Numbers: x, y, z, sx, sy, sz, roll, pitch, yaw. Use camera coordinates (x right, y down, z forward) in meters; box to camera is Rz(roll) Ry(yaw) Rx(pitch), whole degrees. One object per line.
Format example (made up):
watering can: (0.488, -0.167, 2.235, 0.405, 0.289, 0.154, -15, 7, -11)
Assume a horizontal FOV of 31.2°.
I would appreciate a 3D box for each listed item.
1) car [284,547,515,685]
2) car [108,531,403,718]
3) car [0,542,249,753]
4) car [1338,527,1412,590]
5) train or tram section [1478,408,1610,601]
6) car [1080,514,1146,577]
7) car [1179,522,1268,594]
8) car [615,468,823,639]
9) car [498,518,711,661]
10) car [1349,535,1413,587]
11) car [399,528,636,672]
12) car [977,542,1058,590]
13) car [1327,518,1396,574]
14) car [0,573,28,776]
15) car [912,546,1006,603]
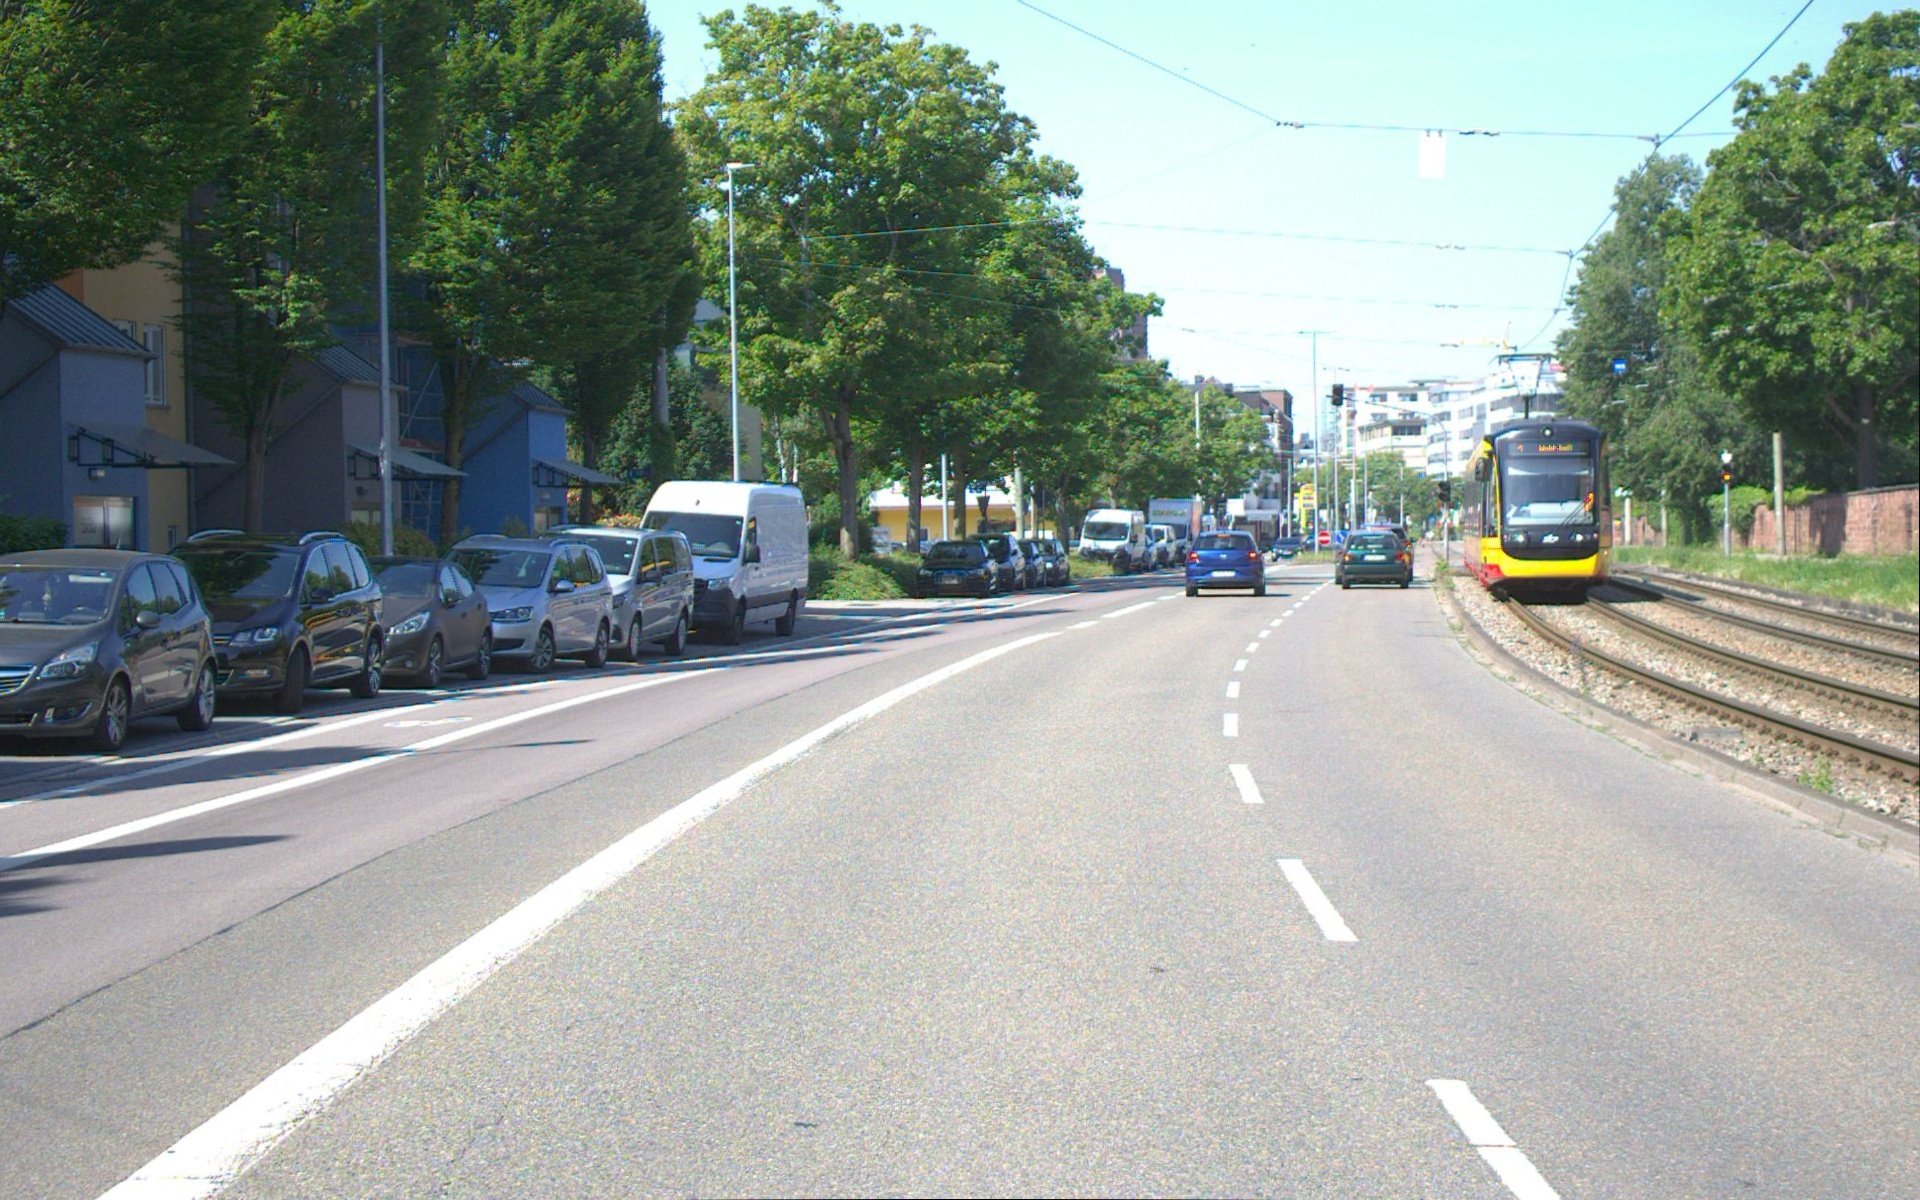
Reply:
car: (-6.493, 0.144, 40.233, 1.690, 1.469, 4.048, 2, 1, 5)
car: (-7.008, 0.176, 34.702, 1.769, 1.717, 4.870, 1, 1, 2)
car: (-7.479, 0.339, 29.253, 1.717, 1.619, 4.312, 1, 1, 3)
car: (10.360, -1.050, 85.844, 1.801, 1.502, 3.999, 0, 2, 7)
train or tram section: (12.441, -2.014, 73.838, 2.512, 3.734, 13.306, -1, 1, 9)
car: (6.072, -2.179, 136.049, 1.881, 2.407, 5.114, -1, 1, 11)
car: (5.893, -0.964, 76.666, 1.801, 1.502, 3.999, 0, 2, 7)
car: (-4.056, -0.816, 59.278, 1.995, 2.705, 7.154, 2, 1, 8)
car: (-5.194, -0.198, 50.965, 1.920, 1.941, 5.353, 2, 1, 7)
car: (12.279, -1.148, 100.353, 1.801, 1.455, 3.999, -1, 1, 7)
car: (-5.752, -0.049, 45.286, 1.801, 1.718, 4.908, 2, 1, 8)
car: (1.728, -1.024, 102.097, 1.700, 1.347, 3.998, -1, 1, 11)
car: (10.862, -1.474, 93.034, 1.801, 1.455, 3.999, 0, 2, 7)
car: (-7.896, 0.569, 23.313, 1.723, 1.469, 4.715, 1, 1, 2)
car: (0.002, -0.676, 89.209, 1.700, 1.412, 3.998, -1, 1, 11)
